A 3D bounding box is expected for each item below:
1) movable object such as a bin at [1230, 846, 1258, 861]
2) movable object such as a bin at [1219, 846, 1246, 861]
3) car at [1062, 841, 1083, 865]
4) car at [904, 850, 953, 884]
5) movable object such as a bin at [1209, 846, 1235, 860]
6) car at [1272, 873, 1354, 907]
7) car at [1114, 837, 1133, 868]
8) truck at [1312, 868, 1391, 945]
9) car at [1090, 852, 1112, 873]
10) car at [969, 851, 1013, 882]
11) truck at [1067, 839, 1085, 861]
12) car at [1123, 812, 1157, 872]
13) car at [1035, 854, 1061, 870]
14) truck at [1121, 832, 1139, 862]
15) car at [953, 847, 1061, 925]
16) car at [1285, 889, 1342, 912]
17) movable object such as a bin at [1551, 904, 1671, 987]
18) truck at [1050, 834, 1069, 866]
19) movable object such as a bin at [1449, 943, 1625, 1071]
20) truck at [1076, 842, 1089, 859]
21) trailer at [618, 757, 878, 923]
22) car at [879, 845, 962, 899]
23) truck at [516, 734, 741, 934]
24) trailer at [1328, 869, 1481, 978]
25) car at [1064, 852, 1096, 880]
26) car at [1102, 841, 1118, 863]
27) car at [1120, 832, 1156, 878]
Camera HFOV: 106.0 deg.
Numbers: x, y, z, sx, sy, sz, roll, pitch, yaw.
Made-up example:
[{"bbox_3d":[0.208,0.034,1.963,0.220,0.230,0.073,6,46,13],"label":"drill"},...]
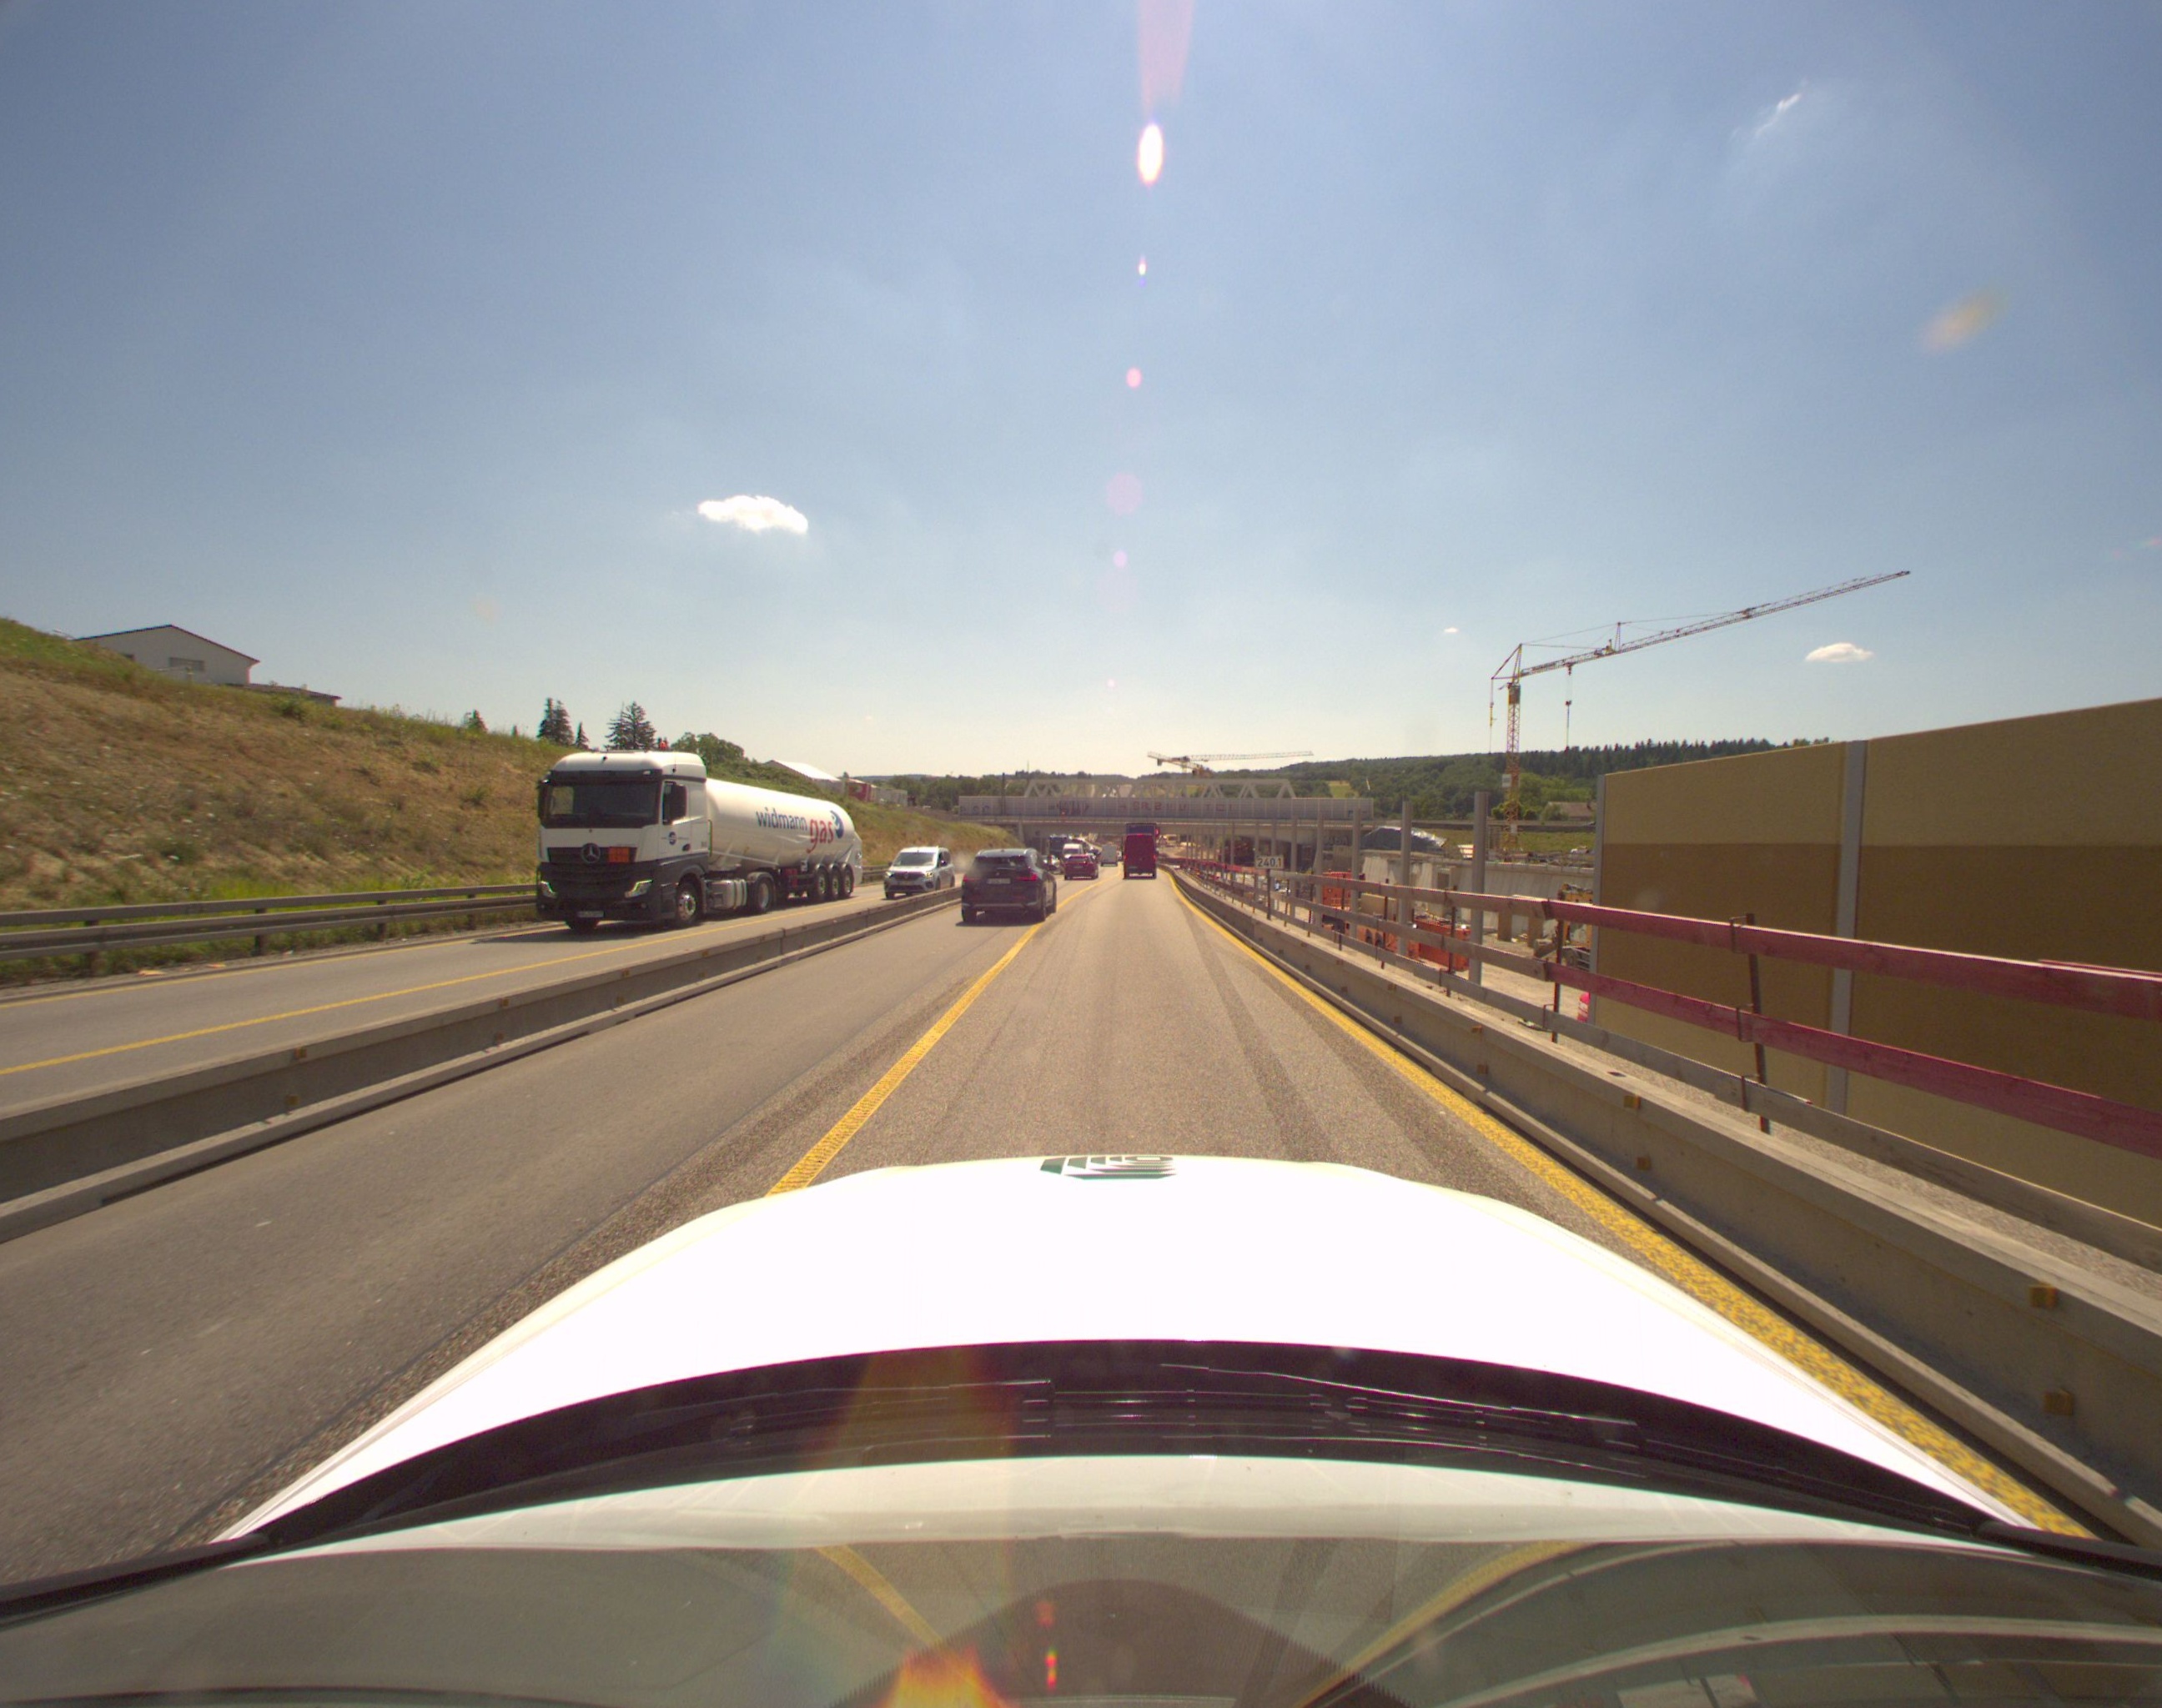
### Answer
[{"bbox_3d":[30.317,-0.094,151.627,5.118,2.807,2.147,0,0,7],"label":"movable object such as a bin"},{"bbox_3d":[29.466,-0.106,158.392,5.118,2.807,2.147,0,0,7],"label":"movable object such as a bin"},{"bbox_3d":[-0.941,-0.108,91.066,1.986,2.606,7.015,0,0,2],"label":"car"},{"bbox_3d":[-8.418,0.698,45.426,1.784,1.762,4.538,-1,0,1],"label":"car"},{"bbox_3d":[28.254,-0.122,163.434,5.118,2.807,2.147,0,0,7],"label":"movable object such as a bin"},{"bbox_3d":[19.472,3.008,68.439,6.084,2.584,2.523,1,2,-8],"label":"car"},{"bbox_3d":[5.811,-0.232,113.025,2.441,4.161,6.863,-1,0,2],"label":"car"},{"bbox_3d":[15.000,2.786,45.575,2.747,3.886,5.887,0,0,3],"label":"truck"},{"bbox_3d":[1.744,0.731,71.109,1.833,1.654,4.166,-1,1,1],"label":"car"},{"bbox_3d":[-5.035,0.674,46.130,1.783,1.611,4.736,0,0,3],"label":"car"},{"bbox_3d":[-0.873,-0.703,150.034,2.823,3.852,12.920,0,0,2],"label":"truck"},{"bbox_3d":[5.229,-1.055,73.752,2.611,5.032,10.401,-1,0,2],"label":"car"},{"bbox_3d":[-2.943,0.696,74.141,1.792,1.447,4.643,0,0,5],"label":"car"},{"bbox_3d":[9.252,-1.281,152.617,2.821,5.398,12.931,0,0,5],"label":"truck"},{"bbox_3d":[-1.608,0.650,19.407,1.871,1.618,4.503,-1,0,3],"label":"car"},{"bbox_3d":[21.457,4.258,75.227,4.708,1.773,2.002,2,2,3],"label":"car"},{"bbox_3d":[22.932,3.871,35.529,2.270,3.024,4.826,2,0,4],"label":"movable object such as a bin"},{"bbox_3d":[-2.803,-0.494,105.832,2.350,4.015,4.000,0,0,0],"label":"truck"},{"bbox_3d":[11.882,3.878,21.687,2.159,2.431,4.825,2,0,3],"label":"movable object such as a bin"},{"bbox_3d":[0.408,-0.902,198.448,2.824,3.852,12.918,0,0,2],"label":"truck"},{"bbox_3d":[-9.113,-0.370,24.591,2.580,3.801,11.923,0,0,2],"label":"trailer"},{"bbox_3d":[-5.657,0.591,29.230,1.872,1.745,4.485,-1,0,2],"label":"car"},{"bbox_3d":[-9.363,-0.390,17.314,2.580,3.801,3.768,0,0,2],"label":"truck"},{"bbox_3d":[14.589,2.842,38.310,2.747,3.886,13.061,0,0,3],"label":"trailer"},{"bbox_3d":[-0.073,0.655,47.892,1.770,1.517,4.205,-1,0,-1],"label":"car"},{"bbox_3d":[3.458,-0.237,96.688,1.769,2.441,4.208,-1,0,2],"label":"car"},{"bbox_3d":[3.434,0.040,49.766,1.981,2.690,4.625,-1,0,2],"label":"car"}]
